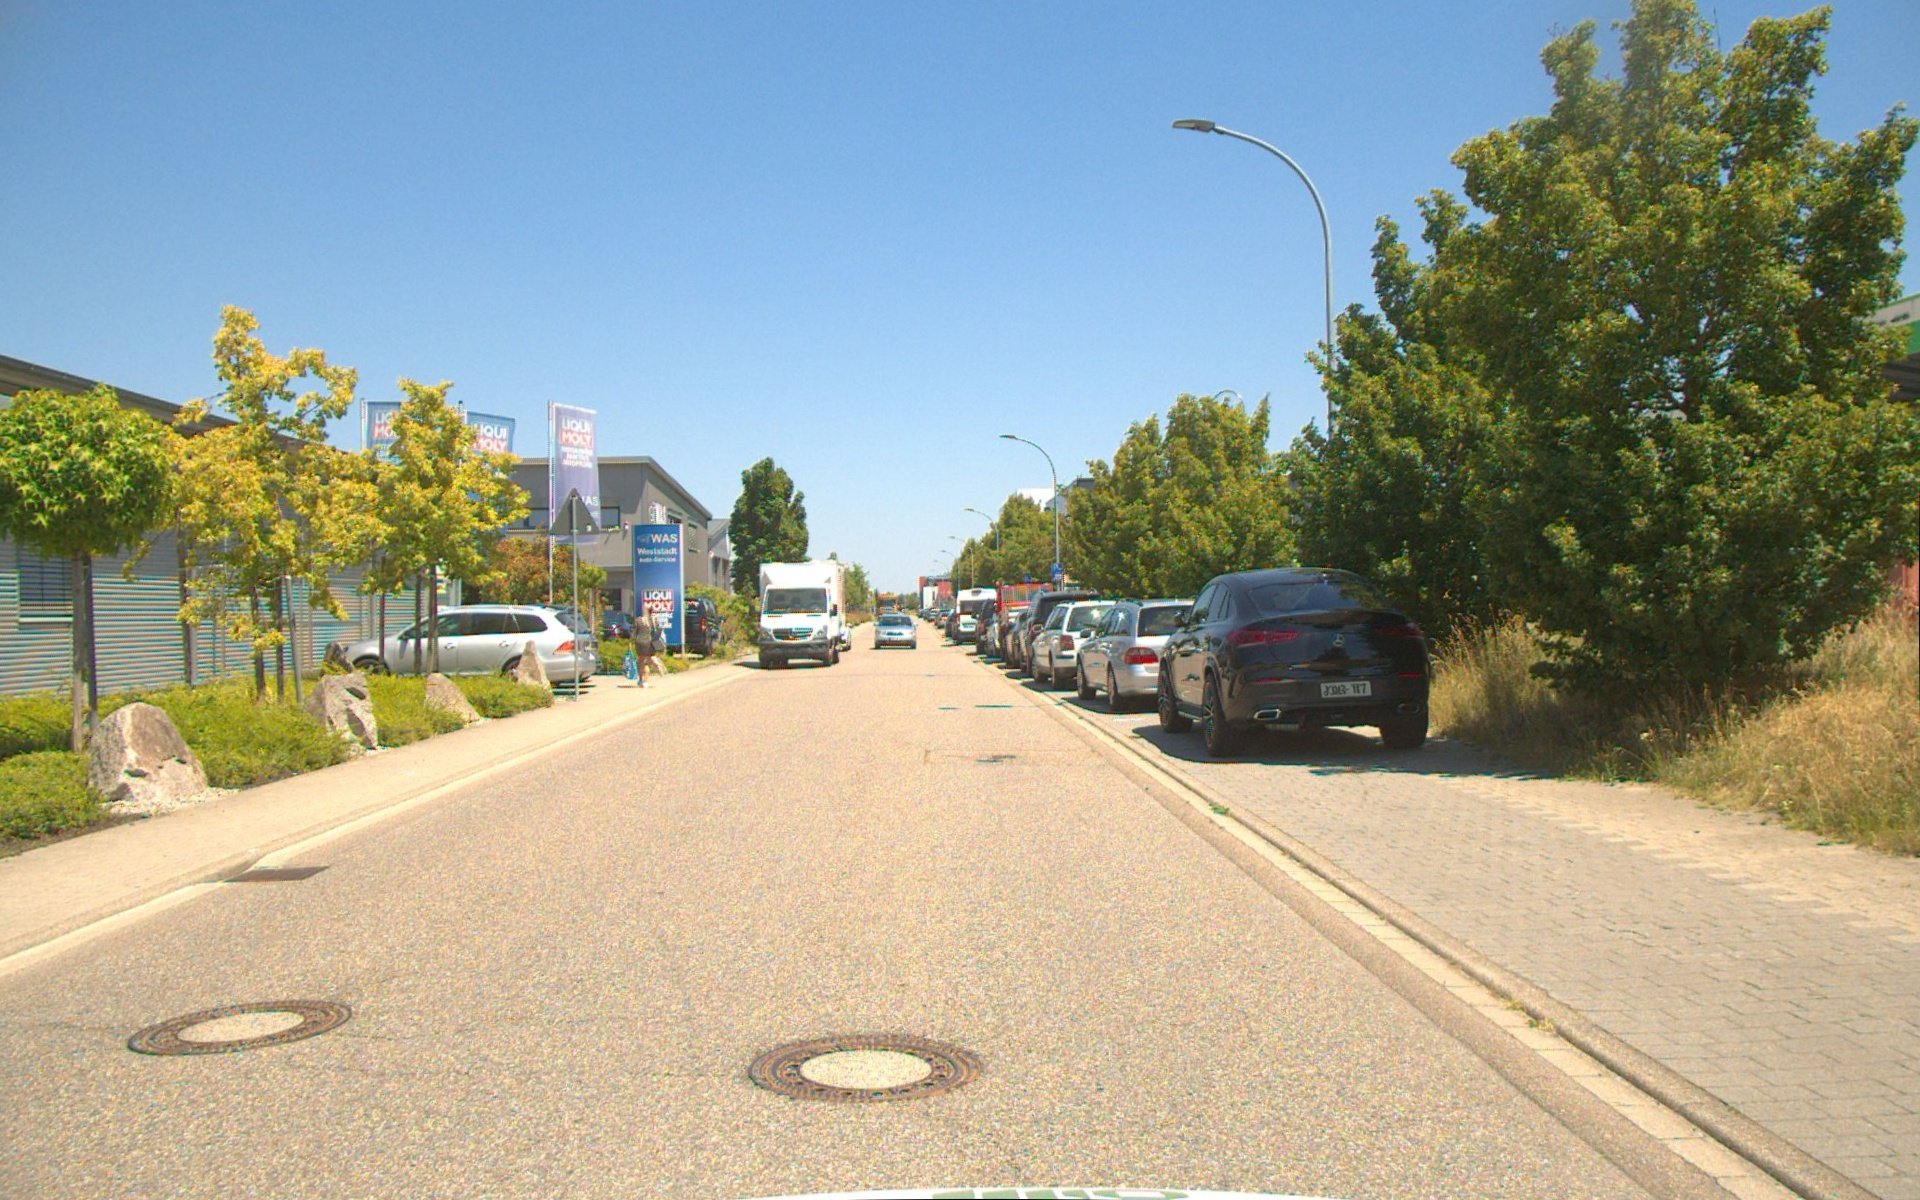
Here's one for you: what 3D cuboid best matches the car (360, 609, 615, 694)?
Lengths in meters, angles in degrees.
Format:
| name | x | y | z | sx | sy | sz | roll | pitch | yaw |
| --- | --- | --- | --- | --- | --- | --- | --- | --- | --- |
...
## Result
| name | x | y | z | sx | sy | sz | roll | pitch | yaw |
| --- | --- | --- | --- | --- | --- | --- | --- | --- | --- |
| car | -8.755 | 0.941 | 30.913 | 4.221 | 1.457 | 1.846 | -1 | -1 | -1 |

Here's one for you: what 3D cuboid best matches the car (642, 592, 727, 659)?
| name | x | y | z | sx | sy | sz | roll | pitch | yaw |
| --- | --- | --- | --- | --- | --- | --- | --- | --- | --- |
| car | -8.580 | 0.791 | 52.002 | 1.953 | 1.991 | 5.215 | -1 | -1 | -2 |

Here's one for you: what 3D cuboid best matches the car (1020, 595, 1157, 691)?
| name | x | y | z | sx | sy | sz | roll | pitch | yaw |
| --- | --- | --- | --- | --- | --- | --- | --- | --- | --- |
| car | 2.231 | 0.724 | 29.890 | 1.680 | 1.508 | 4.768 | -3 | 0 | -5 |

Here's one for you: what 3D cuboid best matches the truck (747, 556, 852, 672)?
| name | x | y | z | sx | sy | sz | roll | pitch | yaw |
| --- | --- | --- | --- | --- | --- | --- | --- | --- | --- |
| truck | -4.408 | 0.399 | 46.506 | 2.314 | 2.910 | 6.413 | -3 | -1 | -1 |

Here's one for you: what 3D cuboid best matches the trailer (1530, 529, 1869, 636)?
| name | x | y | z | sx | sy | sz | roll | pitch | yaw |
| --- | --- | --- | --- | --- | --- | --- | --- | --- | --- |
| trailer | 29.546 | -0.666 | 66.390 | 12.363 | 3.943 | 2.803 | -1 | -2 | -2 |

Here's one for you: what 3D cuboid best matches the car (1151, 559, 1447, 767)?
| name | x | y | z | sx | sy | sz | roll | pitch | yaw |
| --- | --- | --- | --- | --- | --- | --- | --- | --- | --- |
| car | 3.237 | 0.553 | 16.795 | 1.910 | 1.730 | 4.543 | -3 | 0 | -1 |

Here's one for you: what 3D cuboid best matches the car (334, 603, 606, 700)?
| name | x | y | z | sx | sy | sz | roll | pitch | yaw |
| --- | --- | --- | --- | --- | --- | --- | --- | --- | --- |
| car | -8.415 | 0.871 | 28.680 | 4.177 | 1.544 | 1.865 | -1 | -1 | -3 |

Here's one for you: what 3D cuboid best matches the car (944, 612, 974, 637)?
| name | x | y | z | sx | sy | sz | roll | pitch | yaw |
| --- | --- | --- | --- | --- | --- | --- | --- | --- | --- |
| car | -0.025 | 1.619 | 107.835 | 1.673 | 1.531 | 4.707 | -2 | -1 | 3 |

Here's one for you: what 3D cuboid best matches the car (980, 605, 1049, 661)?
| name | x | y | z | sx | sy | sz | roll | pitch | yaw |
| --- | --- | --- | --- | --- | --- | --- | --- | --- | --- |
| car | 1.649 | 1.006 | 51.258 | 1.704 | 1.557 | 3.997 | -3 | -1 | -3 |

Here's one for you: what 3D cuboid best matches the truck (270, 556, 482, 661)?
| name | x | y | z | sx | sy | sz | roll | pitch | yaw |
| --- | --- | --- | --- | --- | --- | --- | --- | --- | --- |
| truck | -21.297 | 0.297 | 60.163 | 7.882 | 3.619 | 2.583 | 0 | -1 | 27 |

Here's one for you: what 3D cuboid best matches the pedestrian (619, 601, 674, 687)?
| name | x | y | z | sx | sy | sz | roll | pitch | yaw |
| --- | --- | --- | --- | --- | --- | --- | --- | --- | --- |
| pedestrian | -5.957 | 0.837 | 31.487 | 0.881 | 1.602 | 0.785 | 1 | 0 | -1 |

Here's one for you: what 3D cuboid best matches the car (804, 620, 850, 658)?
| name | x | y | z | sx | sy | sz | roll | pitch | yaw |
| --- | --- | --- | --- | --- | --- | --- | --- | --- | --- |
| car | -5.455 | 1.581 | 68.315 | 1.695 | 1.484 | 4.489 | -1 | -1 | -2 |

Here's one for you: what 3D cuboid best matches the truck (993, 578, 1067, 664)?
| name | x | y | z | sx | sy | sz | roll | pitch | yaw |
| --- | --- | --- | --- | --- | --- | --- | --- | --- | --- |
| truck | 1.938 | 0.595 | 46.809 | 1.645 | 2.219 | 4.388 | -3 | -1 | -2 |

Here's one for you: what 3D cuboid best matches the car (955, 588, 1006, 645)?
| name | x | y | z | sx | sy | sz | roll | pitch | yaw |
| --- | --- | --- | --- | --- | --- | --- | --- | --- | --- |
| car | 0.938 | 0.772 | 78.539 | 2.221 | 2.541 | 6.151 | -2 | -1 | 0 |

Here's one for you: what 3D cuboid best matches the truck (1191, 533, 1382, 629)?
| name | x | y | z | sx | sy | sz | roll | pitch | yaw |
| --- | --- | --- | --- | --- | --- | --- | --- | --- | --- |
| truck | 10.700 | -0.601 | 54.519 | 5.705 | 2.964 | 2.413 | -2 | -1 | -3 |

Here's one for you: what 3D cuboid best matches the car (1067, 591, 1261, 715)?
| name | x | y | z | sx | sy | sz | roll | pitch | yaw |
| --- | --- | --- | --- | --- | --- | --- | --- | --- | --- |
| car | 2.790 | 0.688 | 23.711 | 1.769 | 1.508 | 4.768 | -3 | 0 | -5 |

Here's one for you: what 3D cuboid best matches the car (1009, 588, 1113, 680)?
| name | x | y | z | sx | sy | sz | roll | pitch | yaw |
| --- | --- | --- | --- | --- | --- | --- | --- | --- | --- |
| car | 2.094 | 0.676 | 35.514 | 1.774 | 1.755 | 4.772 | -3 | 0 | -1 |

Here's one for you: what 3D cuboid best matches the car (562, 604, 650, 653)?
| name | x | y | z | sx | sy | sz | roll | pitch | yaw |
| --- | --- | --- | --- | --- | --- | --- | --- | --- | --- |
| car | -11.167 | 0.893 | 52.451 | 1.892 | 1.441 | 4.767 | 1 | -1 | -2 |

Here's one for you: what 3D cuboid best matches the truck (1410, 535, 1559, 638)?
| name | x | y | z | sx | sy | sz | roll | pitch | yaw |
| --- | --- | --- | --- | --- | --- | --- | --- | --- | --- |
| truck | 20.901 | -0.500 | 66.123 | 4.960 | 3.943 | 2.803 | -1 | -2 | -2 |

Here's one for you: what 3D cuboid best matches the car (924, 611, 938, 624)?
| name | x | y | z | sx | sy | sz | roll | pitch | yaw |
| --- | --- | --- | --- | --- | --- | --- | --- | --- | --- |
| car | -3.374 | 2.037 | 191.946 | 1.553 | 1.434 | 3.498 | -1 | 0 | -2 |

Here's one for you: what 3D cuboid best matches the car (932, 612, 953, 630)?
| name | x | y | z | sx | sy | sz | roll | pitch | yaw |
| --- | --- | --- | --- | --- | --- | --- | --- | --- | --- |
| car | -1.542 | 1.827 | 144.633 | 1.683 | 1.475 | 3.644 | -2 | -1 | -2 |

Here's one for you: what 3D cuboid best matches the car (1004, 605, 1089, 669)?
| name | x | y | z | sx | sy | sz | roll | pitch | yaw |
| --- | --- | --- | --- | --- | --- | --- | --- | --- | --- |
| car | 2.096 | 0.901 | 41.137 | 1.664 | 1.407 | 4.835 | -3 | -1 | -2 |

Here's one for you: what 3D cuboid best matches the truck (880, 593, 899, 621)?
| name | x | y | z | sx | sy | sz | roll | pitch | yaw |
| --- | --- | --- | --- | --- | --- | --- | --- | --- | --- |
| truck | -9.297 | 0.890 | 218.970 | 2.399 | 3.574 | 8.269 | -2 | 0 | -2 |

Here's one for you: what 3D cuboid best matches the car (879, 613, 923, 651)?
| name | x | y | z | sx | sy | sz | roll | pitch | yaw |
| --- | --- | --- | --- | --- | --- | --- | --- | --- | --- |
| car | -2.502 | 1.332 | 69.645 | 1.748 | 1.447 | 4.411 | -3 | -1 | -3 |

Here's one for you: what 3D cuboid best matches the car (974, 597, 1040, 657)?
| name | x | y | z | sx | sy | sz | roll | pitch | yaw |
| --- | --- | --- | --- | --- | --- | --- | --- | --- | --- |
| car | 1.582 | 0.918 | 57.219 | 1.953 | 1.917 | 5.153 | -2 | -1 | -1 |
